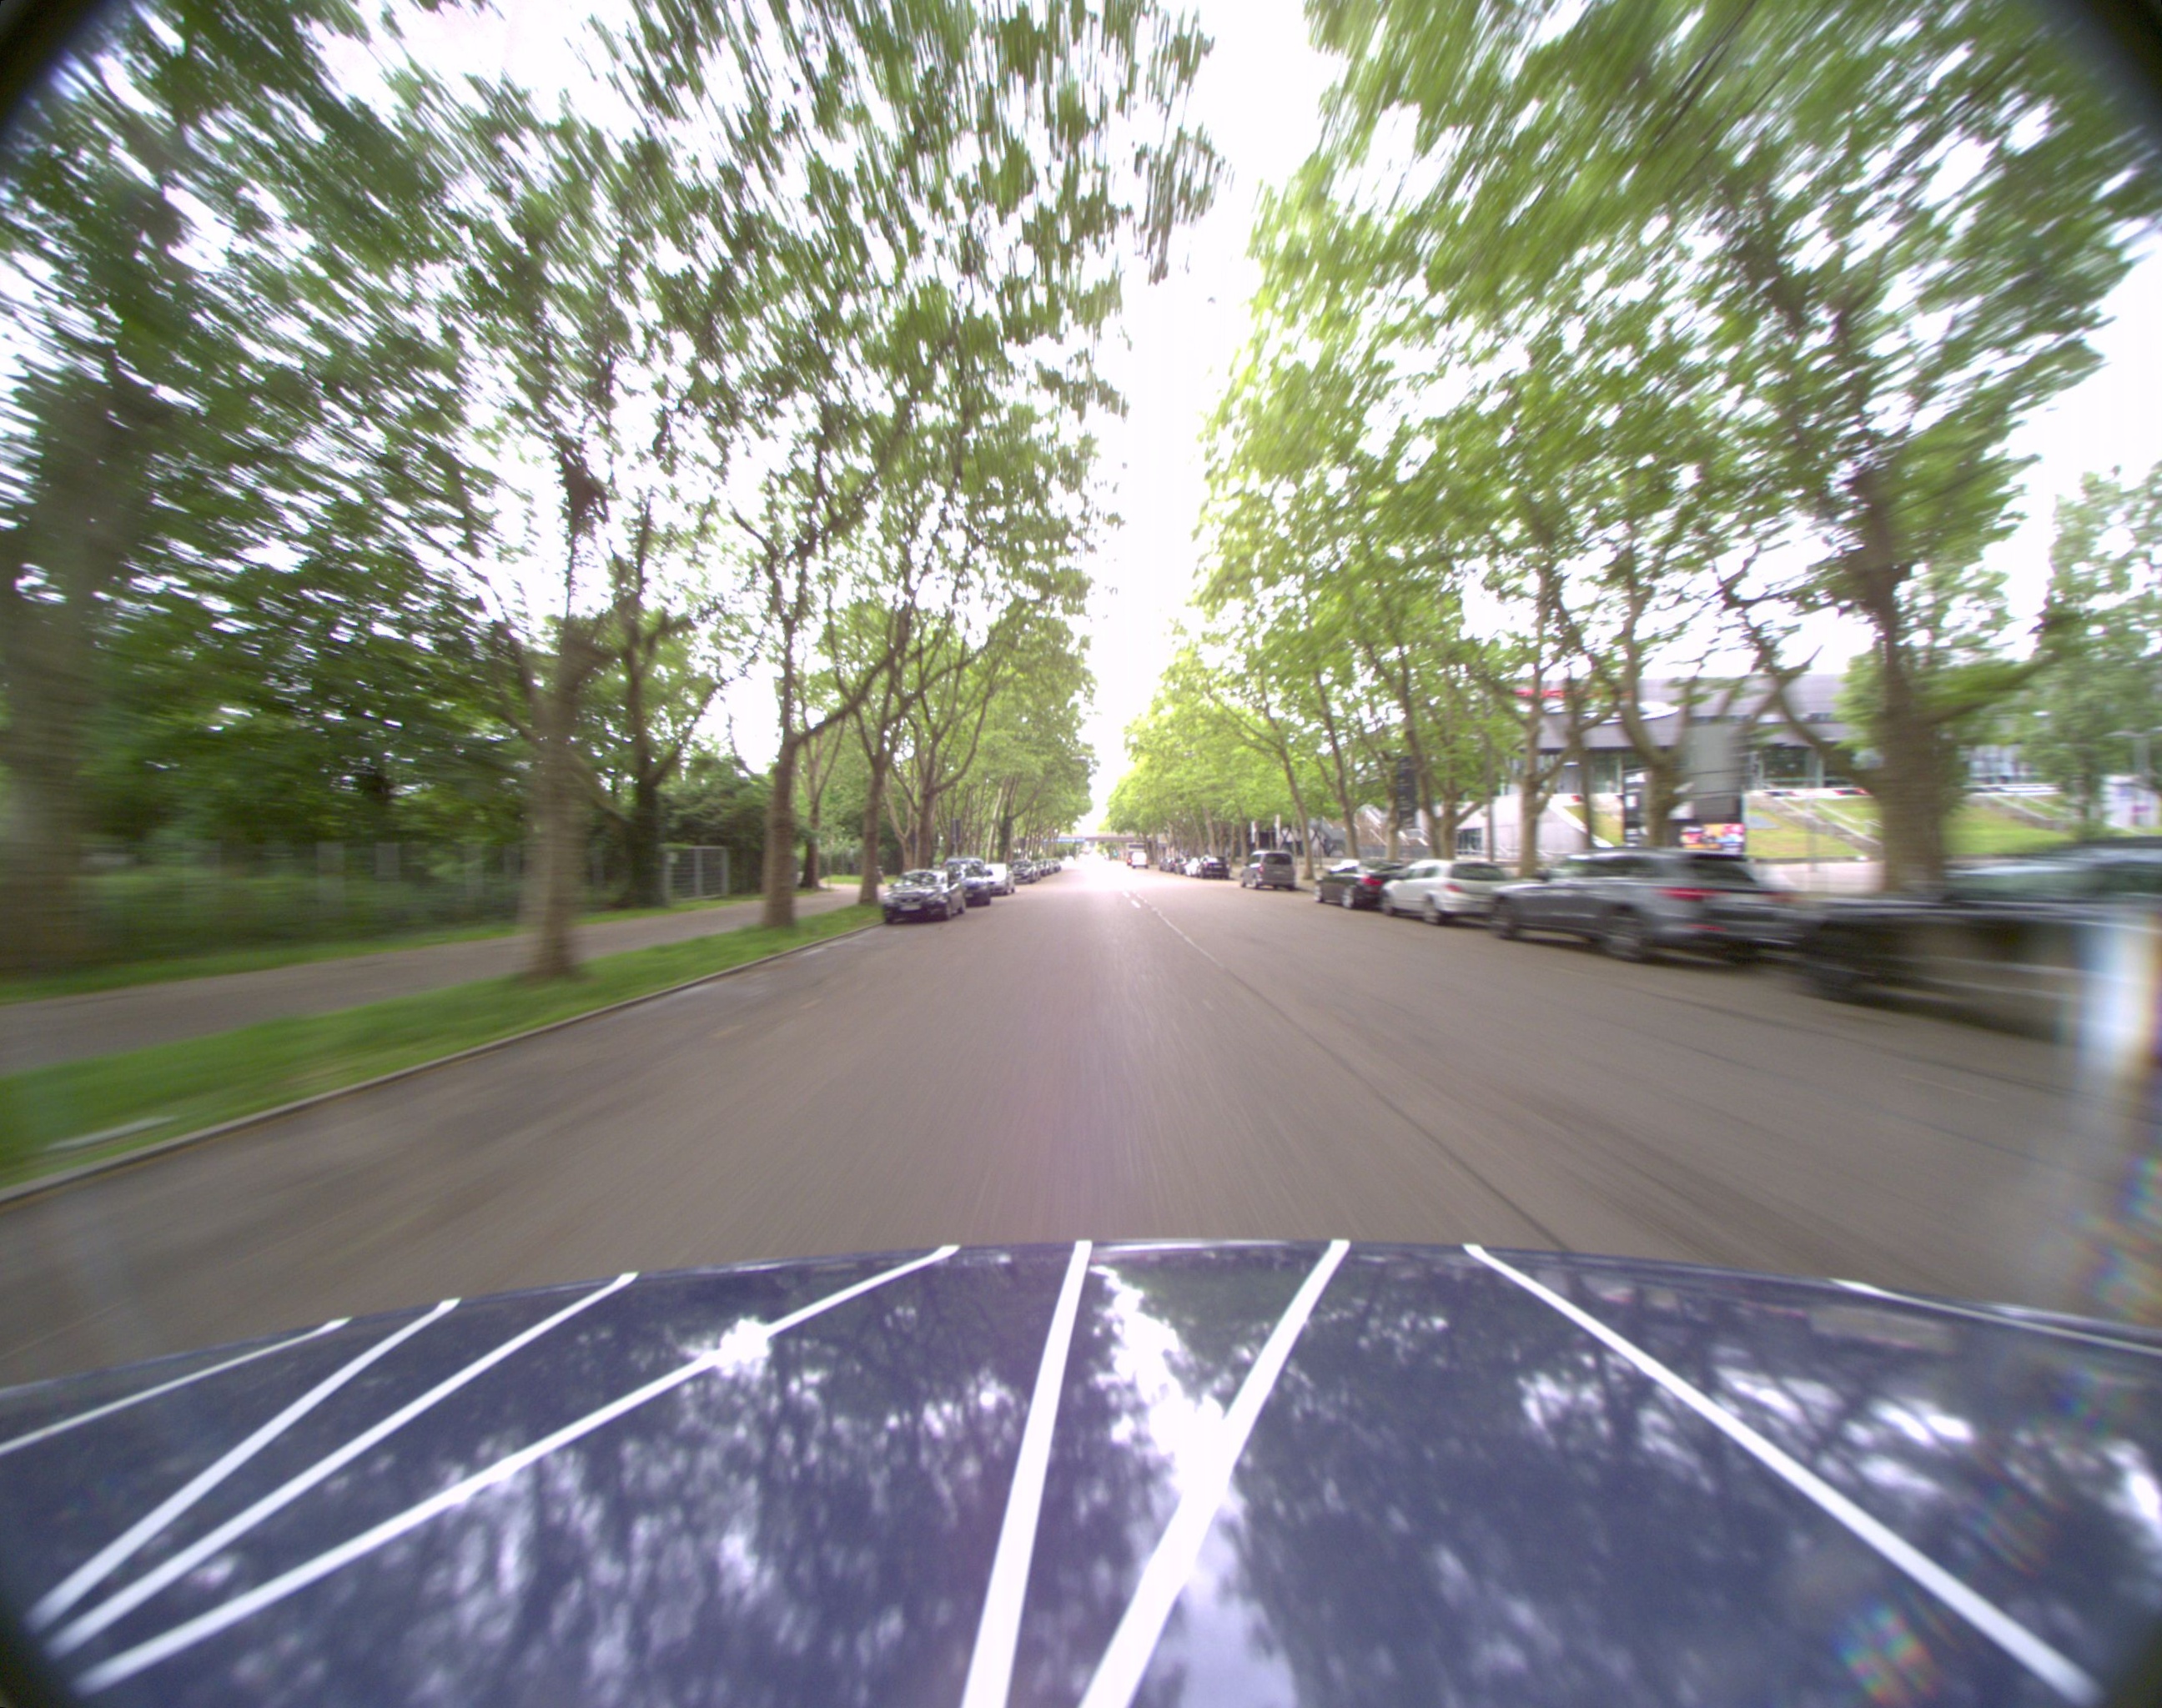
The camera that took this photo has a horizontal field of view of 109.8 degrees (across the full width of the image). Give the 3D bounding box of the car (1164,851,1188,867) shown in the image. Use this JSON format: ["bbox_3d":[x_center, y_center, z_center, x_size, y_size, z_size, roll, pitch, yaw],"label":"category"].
[{"bbox_3d":[9.164,0.492,73.745,1.712,1.374,4.331,2,0,0],"label":"car"}]

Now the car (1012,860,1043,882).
[{"bbox_3d":[-3.845,1.195,55.372,1.780,1.410,4.287,-4,0,1],"label":"car"}]

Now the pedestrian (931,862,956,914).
[{"bbox_3d":[-4.420,1.080,24.516,0.635,1.617,0.742,-1,1,0],"label":"pedestrian"}]

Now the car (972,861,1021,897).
[{"bbox_3d":[-3.914,1.131,35.656,1.623,1.453,3.946,-4,0,2],"label":"car"}]

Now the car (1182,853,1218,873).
[{"bbox_3d":[8.778,0.643,56.406,1.820,1.354,5.005,1,0,0],"label":"car"}]

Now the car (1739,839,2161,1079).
[{"bbox_3d":[8.369,0.741,6.108,1.942,1.633,4.928,2,0,2],"label":"car"}]

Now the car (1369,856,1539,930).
[{"bbox_3d":[8.373,0.797,17.551,1.838,1.447,4.230,2,0,1],"label":"car"}]

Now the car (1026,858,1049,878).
[{"bbox_3d":[-3.829,1.208,67.530,1.781,1.544,4.396,-4,0,0],"label":"car"}]

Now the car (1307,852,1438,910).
[{"bbox_3d":[8.483,0.736,22.691,2.089,1.521,5.146,0,0,2],"label":"car"}]

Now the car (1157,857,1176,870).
[{"bbox_3d":[9.344,1.013,83.301,1.698,1.354,4.001,3,0,3],"label":"car"}]

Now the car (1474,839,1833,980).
[{"bbox_3d":[8.353,0.696,11.801,1.874,1.708,4.647,2,0,-2],"label":"car"}]

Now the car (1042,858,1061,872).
[{"bbox_3d":[-3.334,1.191,85.814,1.734,1.468,4.982,-4,0,1],"label":"car"}]

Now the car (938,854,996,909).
[{"bbox_3d":[-4.226,0.963,28.333,1.848,1.772,4.444,-4,0,-8],"label":"car"}]

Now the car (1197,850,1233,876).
[{"bbox_3d":[8.932,0.568,50.986,1.822,1.584,4.345,2,0,3],"label":"car"}]

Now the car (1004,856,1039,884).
[{"bbox_3d":[-3.782,0.993,49.270,1.834,1.593,4.467,-4,0,0],"label":"car"}]

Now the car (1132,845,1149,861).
[{"bbox_3d":[7.482,-0.085,96.053,2.064,1.950,5.467,-1,0,3],"label":"car"}]

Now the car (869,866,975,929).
[{"bbox_3d":[-4.364,1.146,21.626,1.998,1.469,4.371,-3,0,0],"label":"car"}]

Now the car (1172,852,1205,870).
[{"bbox_3d":[8.848,0.555,62.900,1.824,1.476,4.992,0,0,-2],"label":"car"}]

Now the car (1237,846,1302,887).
[{"bbox_3d":[8.852,0.550,36.020,1.900,1.785,4.612,2,0,0],"label":"car"}]

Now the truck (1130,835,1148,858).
[{"bbox_3d":[9.924,-1.250,130.533,2.916,3.846,9.467,0,1,3],"label":"truck"}]
